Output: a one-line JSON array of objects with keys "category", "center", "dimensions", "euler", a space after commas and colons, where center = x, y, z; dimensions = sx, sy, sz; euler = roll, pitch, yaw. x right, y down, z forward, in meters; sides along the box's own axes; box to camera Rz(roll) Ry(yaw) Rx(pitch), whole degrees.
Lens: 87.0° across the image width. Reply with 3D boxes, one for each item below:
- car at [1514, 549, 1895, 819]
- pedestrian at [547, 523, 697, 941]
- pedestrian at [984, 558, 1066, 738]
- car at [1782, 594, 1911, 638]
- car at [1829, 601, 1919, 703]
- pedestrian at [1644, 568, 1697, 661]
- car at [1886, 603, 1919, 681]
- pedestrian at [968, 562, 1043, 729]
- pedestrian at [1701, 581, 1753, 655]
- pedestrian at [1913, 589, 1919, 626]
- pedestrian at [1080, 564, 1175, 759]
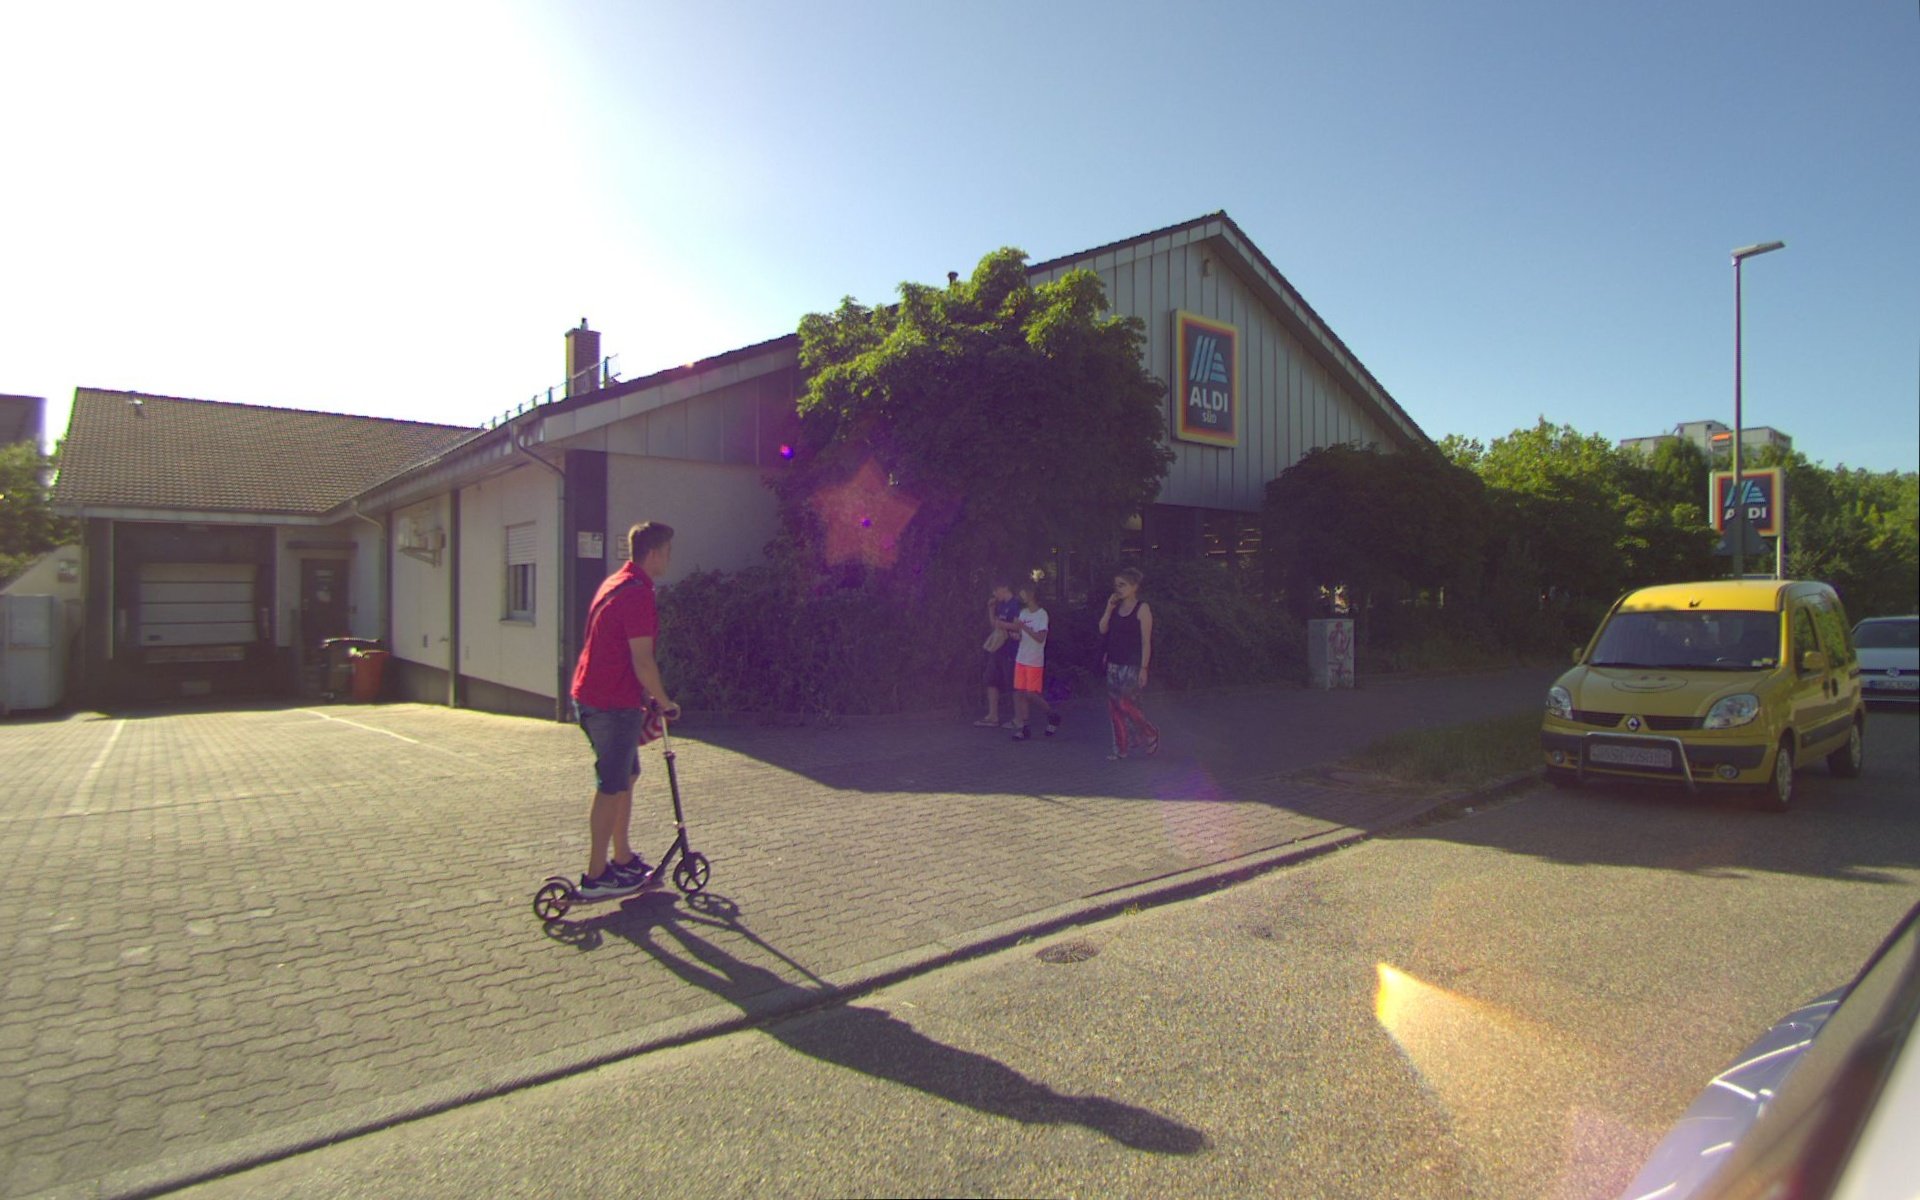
[{"category": "car", "center": [6.640, 0.569, 8.889], "dimensions": [3.927, 1.861, 1.728], "euler": [0, 0, -39]}, {"category": "pedestrian", "center": [-1.614, 0.578, 4.821], "dimensions": [0.478, 1.854, 0.485], "euler": [1, 3, -41]}, {"category": "pedestrian", "center": [0.623, 0.442, 9.737], "dimensions": [0.536, 1.658, 0.569], "euler": [1, 0, -34]}, {"category": "car", "center": [35.692, 0.596, 40.868], "dimensions": [3.733, 1.666, 1.832], "euler": [1, 0, 36]}, {"category": "car", "center": [15.447, 0.759, 16.161], "dimensions": [3.930, 1.470, 1.829], "euler": [0, 0, -41]}, {"category": "pedestrian", "center": [14.754, 0.294, 21.017], "dimensions": [0.793, 1.885, 0.860], "euler": [0, -1, 44]}, {"category": "car", "center": [19.866, 0.795, 19.935], "dimensions": [4.285, 1.462, 1.811], "euler": [0, 0, -39]}, {"category": "pedestrian", "center": [0.468, 0.450, 10.414], "dimensions": [0.536, 1.658, 0.569], "euler": [1, 0, -34]}, {"category": "pedestrian", "center": [19.188, 0.442, 25.332], "dimensions": [0.793, 1.804, 0.802], "euler": [1, 0, -31]}, {"category": "pedestrian", "center": [42.287, 0.335, 44.409], "dimensions": [0.779, 1.629, 0.574], "euler": [-1, 3, -43]}, {"category": "pedestrian", "center": [1.484, 0.517, 9.007], "dimensions": [0.536, 1.657, 0.569], "euler": [1, 2, -34]}]
